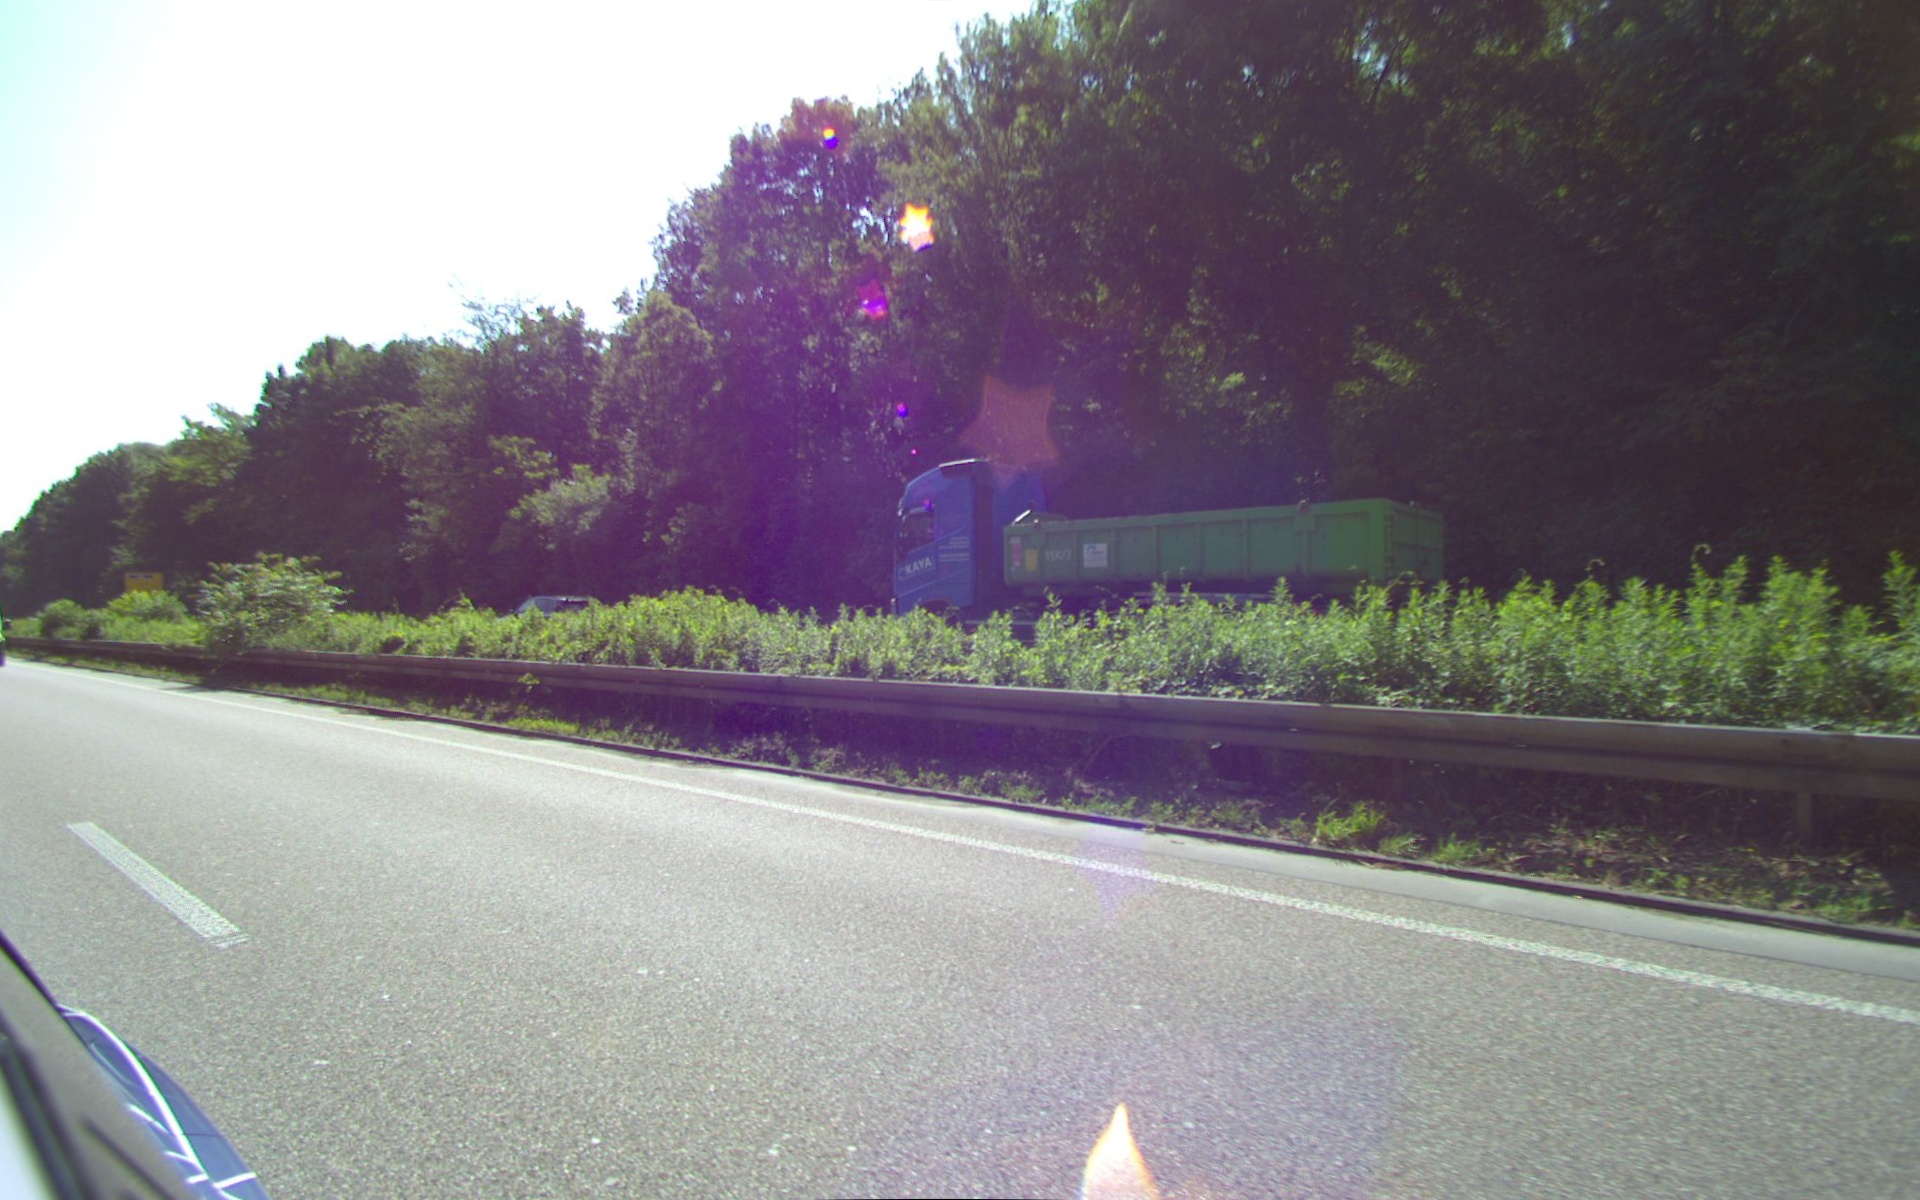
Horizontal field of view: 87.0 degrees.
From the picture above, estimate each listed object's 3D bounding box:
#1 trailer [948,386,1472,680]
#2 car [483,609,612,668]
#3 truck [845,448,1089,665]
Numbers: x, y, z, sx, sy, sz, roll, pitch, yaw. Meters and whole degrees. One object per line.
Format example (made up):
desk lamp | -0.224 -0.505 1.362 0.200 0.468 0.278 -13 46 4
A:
trailer | 3.658 -0.809 16.554 7.981 3.740 2.660 -1 0 42
car | -12.689 1.185 31.009 4.710 1.674 1.675 -2 -3 40
truck | 0.094 -0.729 19.744 3.998 3.734 2.618 -1 0 41
